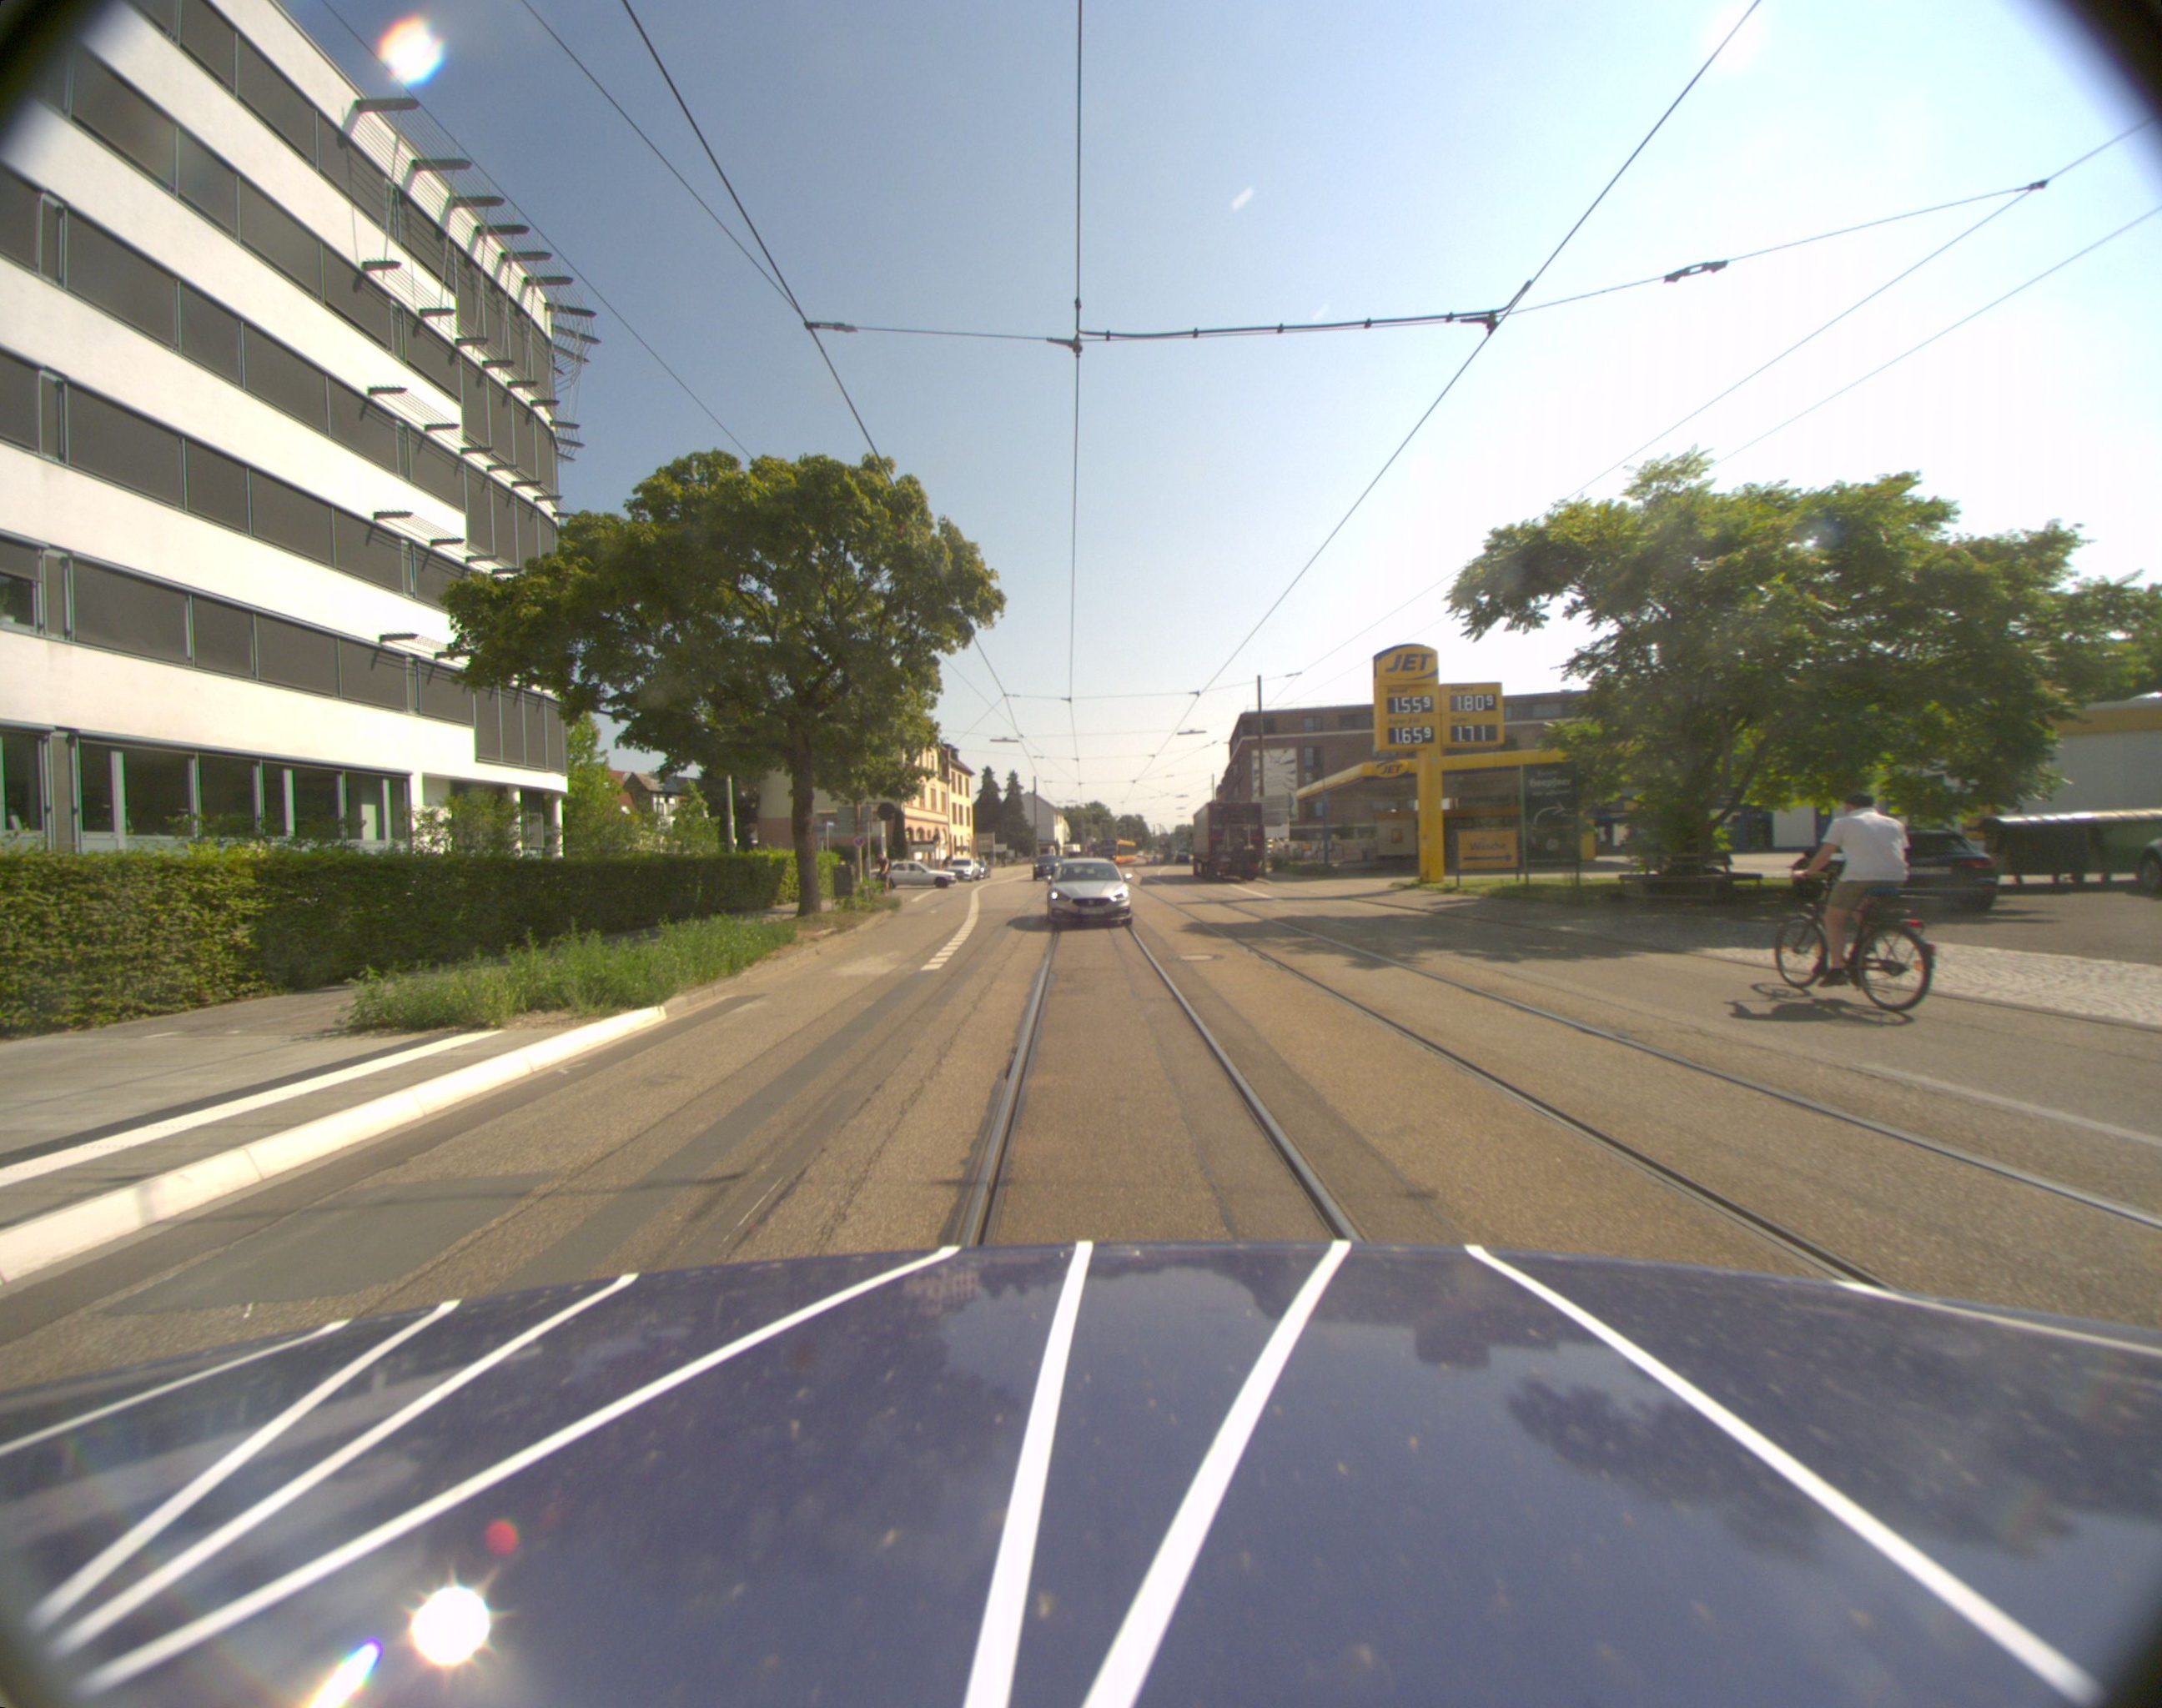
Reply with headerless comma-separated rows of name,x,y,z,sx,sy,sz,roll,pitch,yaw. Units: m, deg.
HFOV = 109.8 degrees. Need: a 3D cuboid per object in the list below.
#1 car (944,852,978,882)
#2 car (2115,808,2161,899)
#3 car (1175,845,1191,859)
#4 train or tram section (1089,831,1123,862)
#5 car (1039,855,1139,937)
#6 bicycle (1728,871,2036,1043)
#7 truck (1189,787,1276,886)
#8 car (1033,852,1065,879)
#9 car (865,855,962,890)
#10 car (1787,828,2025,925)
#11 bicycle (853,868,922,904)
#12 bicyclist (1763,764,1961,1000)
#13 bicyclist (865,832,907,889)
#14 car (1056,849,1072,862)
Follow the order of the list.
car,-8.290,0.867,52.741,1.961,1.910,4.551,-2,1,-5
car,19.101,-0.005,11.950,1.932,1.588,4.535,-1,1,34
car,13.001,-0.263,96.806,1.778,1.657,4.000,-2,1,4
train or tram section,3.435,-1.105,107.747,4.111,3.711,24.376,-2,1,1
car,0.145,0.829,17.341,1.928,1.465,4.815,-2,1,0
bicycle,6.963,0.815,6.806,0.787,1.233,2.035,-2,1,8
truck,8.187,-0.931,43.412,3.171,4.427,16.845,-2,1,6
car,-2.000,0.724,48.452,1.834,1.543,4.032,-2,1,0
car,-8.435,0.918,38.716,4.552,1.506,1.960,-2,1,-5
car,14.675,0.304,13.863,1.932,1.452,4.535,-1,1,34
bicycle,-6.991,1.140,27.627,1.136,1.118,2.540,-2,1,22
bicyclist,6.928,0.228,6.817,0.642,1.918,1.176,-2,1,8
bicyclist,-7.032,0.211,27.491,0.781,2.002,1.276,-1,1,23
car,-2.123,0.212,96.619,1.834,1.543,4.032,-2,1,0
